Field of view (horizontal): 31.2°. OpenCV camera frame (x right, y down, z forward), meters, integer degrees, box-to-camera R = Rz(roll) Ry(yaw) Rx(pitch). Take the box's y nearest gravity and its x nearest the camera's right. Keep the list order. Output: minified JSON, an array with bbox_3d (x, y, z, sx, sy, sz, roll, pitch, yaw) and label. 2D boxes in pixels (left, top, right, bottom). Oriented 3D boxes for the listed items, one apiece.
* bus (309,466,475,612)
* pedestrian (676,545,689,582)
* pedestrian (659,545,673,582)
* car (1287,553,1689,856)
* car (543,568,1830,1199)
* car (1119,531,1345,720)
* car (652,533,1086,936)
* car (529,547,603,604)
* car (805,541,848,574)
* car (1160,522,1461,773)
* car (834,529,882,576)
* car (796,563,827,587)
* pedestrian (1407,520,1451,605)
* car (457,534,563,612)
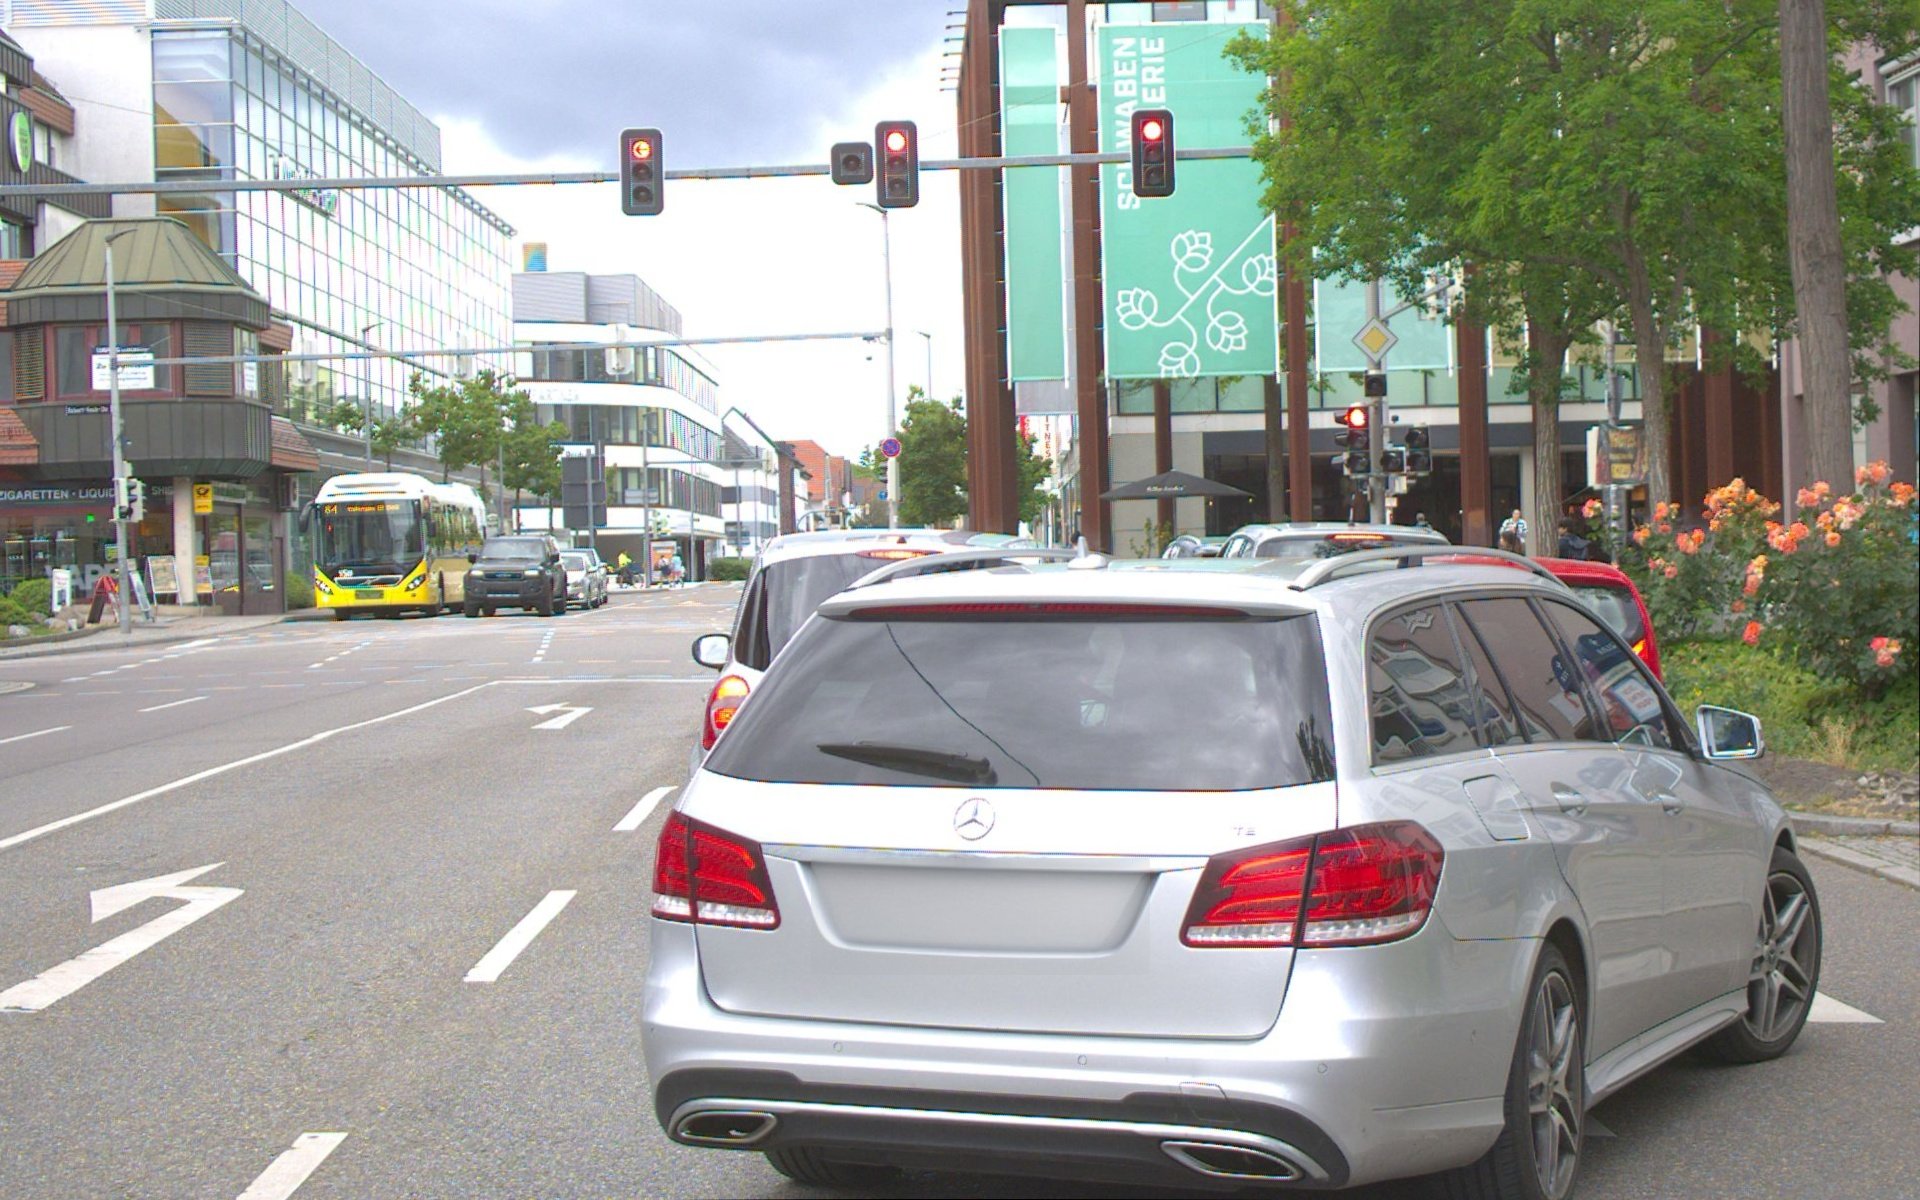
[{"bbox_3d":[-13.367,-1.445,81.576,2.686,3.250,8.654,-1,1,-2],"label":"bus"},{"bbox_3d":[-13.234,-1.741,163.937,0.519,1.728,0.489,-1,1,-16],"label":"pedestrian"},{"bbox_3d":[-14.006,-1.736,163.756,0.519,1.728,0.489,-1,1,-16],"label":"pedestrian"},{"bbox_3d":[2.717,0.484,18.333,1.586,1.438,3.348,1,1,0],"label":"car"},{"bbox_3d":[0.870,0.662,8.613,1.817,1.443,4.364,1,1,24],"label":"car"},{"bbox_3d":[2.403,0.184,31.134,1.586,1.589,3.868,1,1,-2],"label":"car"},{"bbox_3d":[-0.362,0.480,14.704,1.640,1.522,3.394,0,1,-1],"label":"car"},{"bbox_3d":[-9.899,-0.625,86.602,1.555,1.387,3.288,-1,1,-2],"label":"car"},{"bbox_3d":[-6.363,-2.034,163.881,1.801,1.535,4.065,-1,1,1],"label":"car"},{"bbox_3d":[2.413,0.278,24.495,1.586,1.628,3.917,1,1,-2],"label":"car"},{"bbox_3d":[-4.329,-2.026,146.614,1.993,1.942,4.951,-1,1,-2],"label":"car"},{"bbox_3d":[-10.042,-1.710,232.305,1.801,1.535,4.065,-1,1,1],"label":"car"},{"bbox_3d":[9.119,-0.734,66.896,0.651,1.645,0.559,-1,1,-15],"label":"pedestrian"},{"bbox_3d":[-10.306,-0.643,79.013,1.993,1.700,4.065,-1,1,-2],"label":"car"}]
